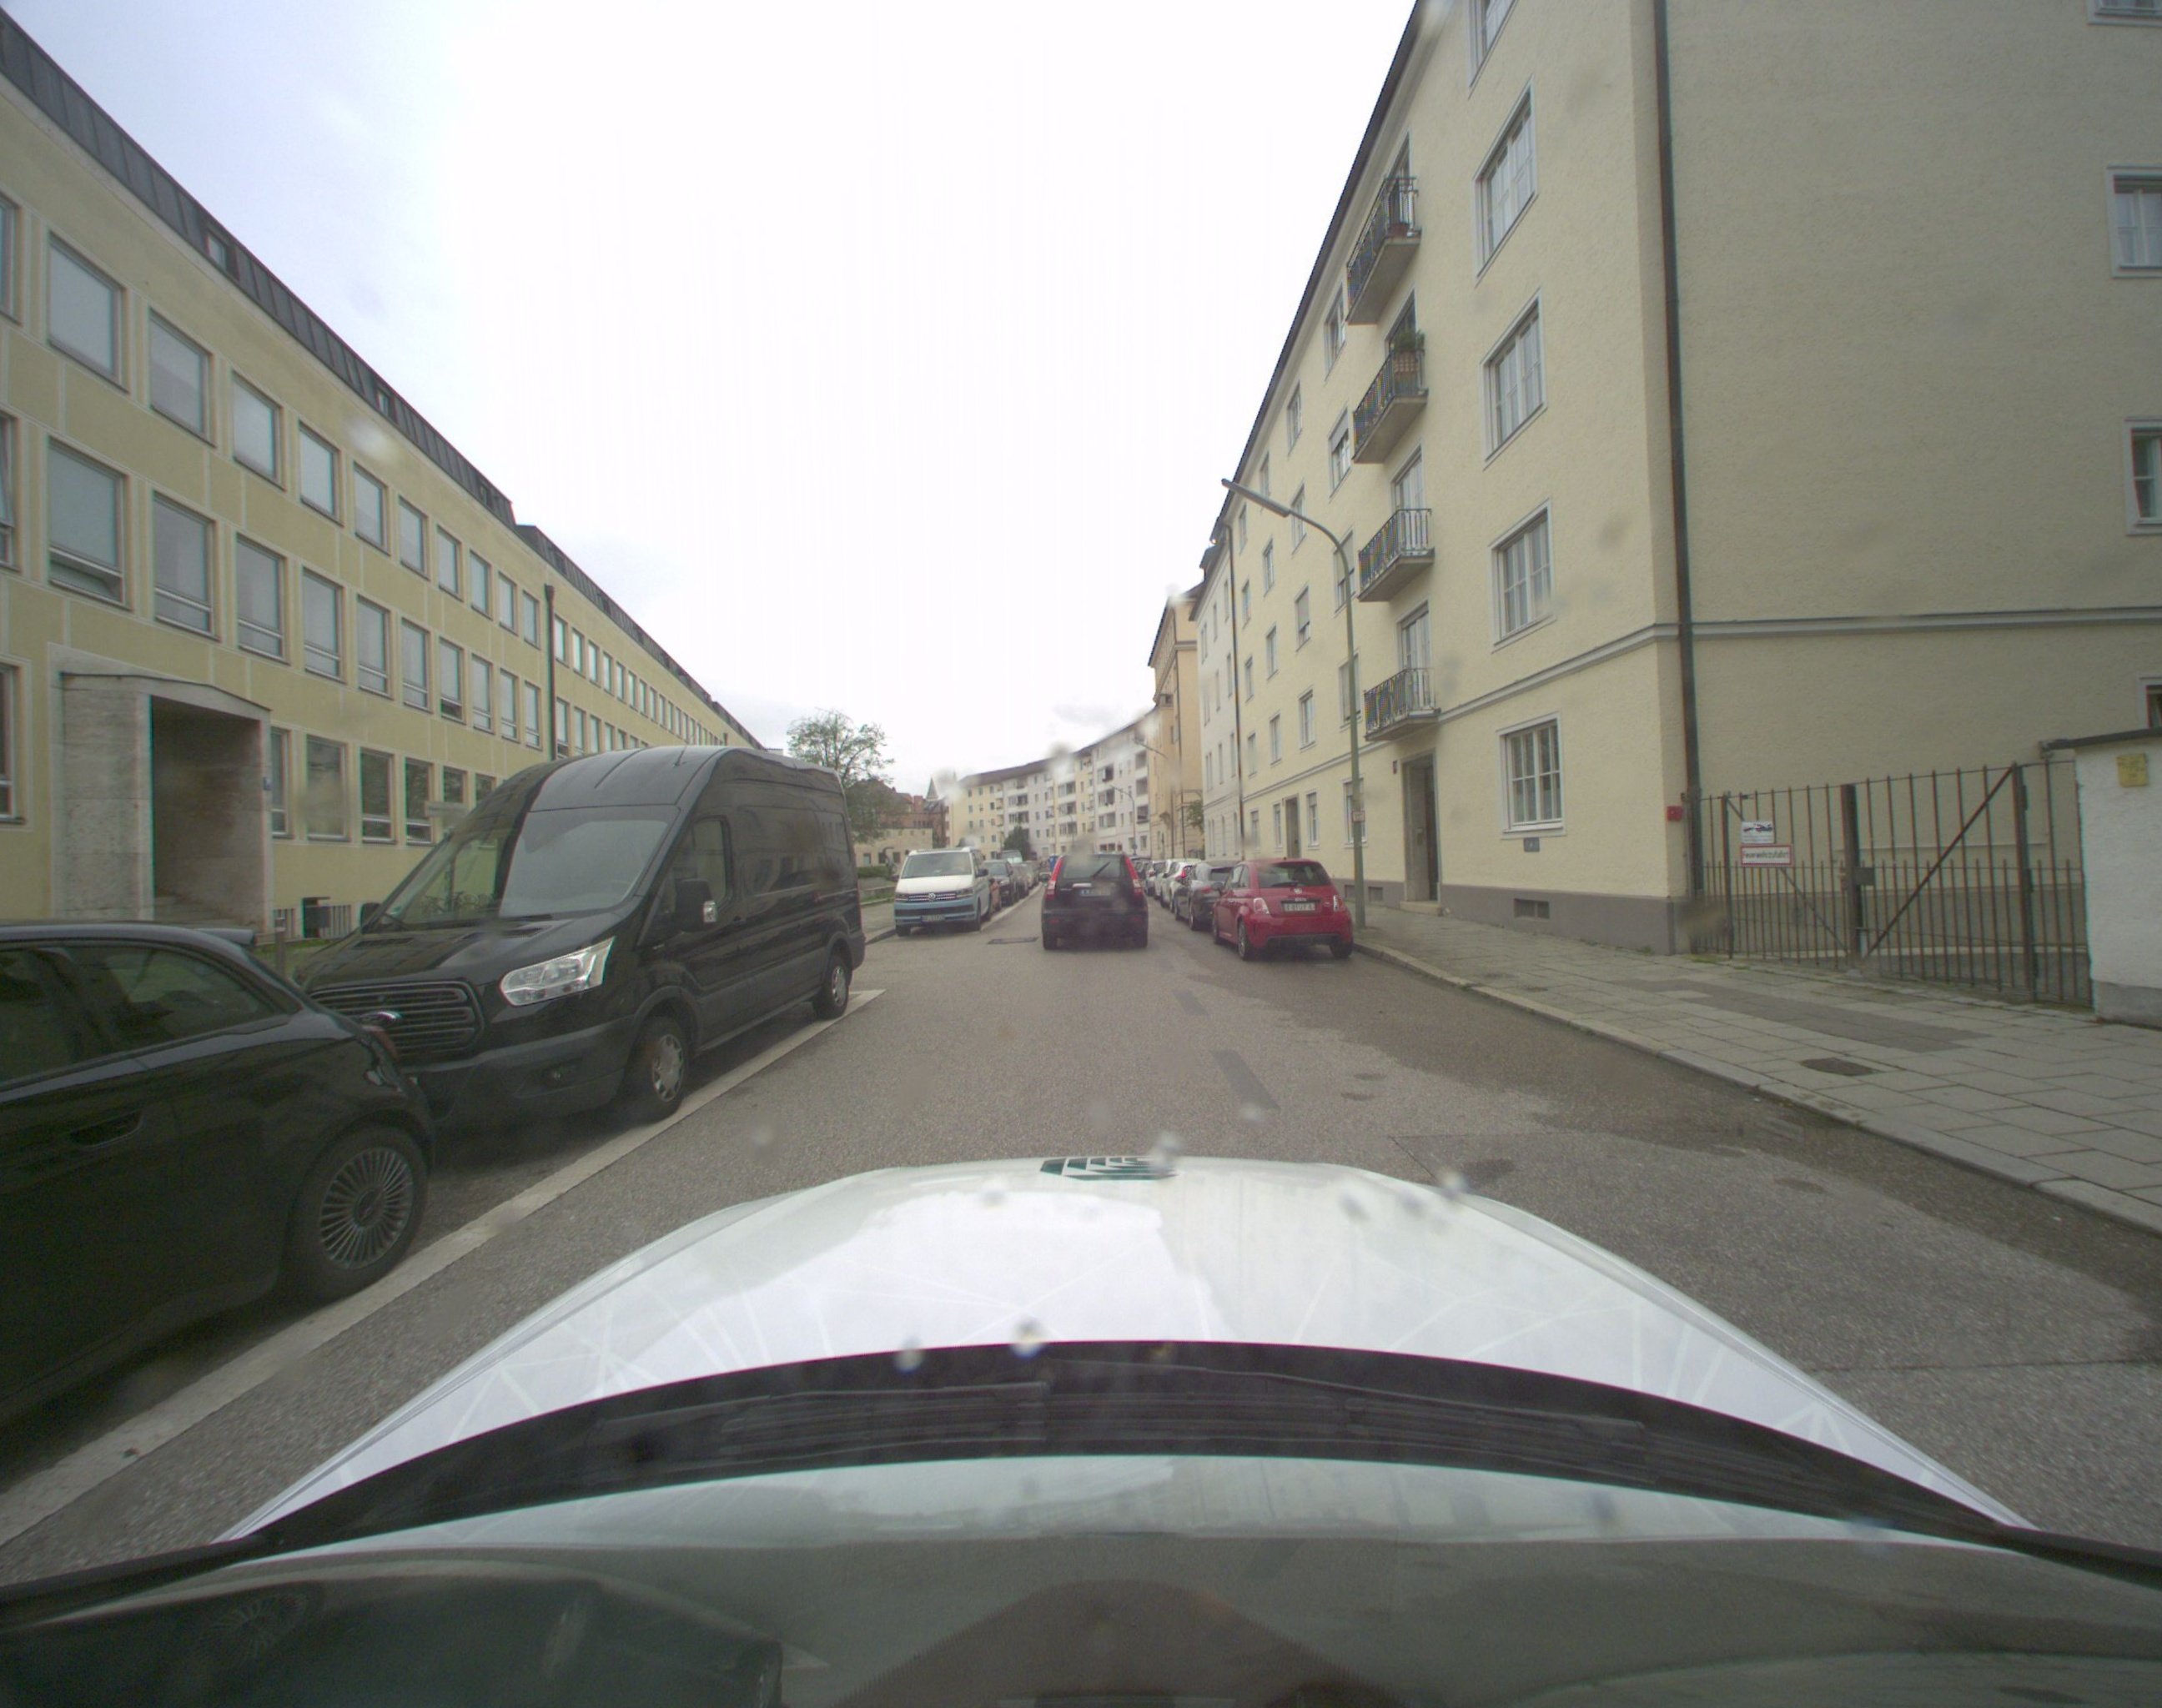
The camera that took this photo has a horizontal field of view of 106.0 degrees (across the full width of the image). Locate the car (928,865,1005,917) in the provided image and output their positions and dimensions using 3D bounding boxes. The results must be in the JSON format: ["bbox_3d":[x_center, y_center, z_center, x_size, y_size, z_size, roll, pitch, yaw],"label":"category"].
[{"bbox_3d":[-3.404,1.056,24.823,1.738,1.387,3.918,-1,0,0],"label":"car"}]

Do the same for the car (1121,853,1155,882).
[{"bbox_3d":[3.401,0.817,49.174,1.717,1.634,4.456,-1,-1,0],"label":"car"}]

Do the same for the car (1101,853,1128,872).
[{"bbox_3d":[3.138,0.789,76.313,1.776,1.807,4.264,0,-1,-8],"label":"car"}]

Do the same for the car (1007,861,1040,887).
[{"bbox_3d":[-3.589,1.256,51.438,1.750,1.453,4.393,-3,0,-2],"label":"car"}]

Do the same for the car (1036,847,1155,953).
[{"bbox_3d":[0.135,0.757,15.064,1.887,1.647,3.986,-1,-1,-3],"label":"car"}]

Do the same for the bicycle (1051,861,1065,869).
[{"bbox_3d":[-3.263,1.612,115.640,1.873,1.091,0.561,-1,-1,-22],"label":"bicycle"}]

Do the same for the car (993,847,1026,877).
[{"bbox_3d":[-6.847,0.740,77.740,2.167,2.641,5.988,-3,0,-14],"label":"car"}]

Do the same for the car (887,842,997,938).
[{"bbox_3d":[-3.263,0.802,20.082,1.923,1.979,5.018,-3,0,-2],"label":"car"}]

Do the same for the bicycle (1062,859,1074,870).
[{"bbox_3d":[-1.734,1.428,107.970,0.970,1.388,2.550,-1,-1,-15],"label":"bicycle"}]

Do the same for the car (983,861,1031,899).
[{"bbox_3d":[-3.183,1.081,35.483,1.675,1.453,3.868,-3,0,-1],"label":"car"}]

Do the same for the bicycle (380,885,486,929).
[{"bbox_3d":[-16.007,1.301,20.157,1.951,1.014,0.577,0,-1,-17],"label":"bicycle"}]

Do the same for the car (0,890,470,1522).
[{"bbox_3d":[-3.516,0.915,1.891,1.698,1.494,3.484,-1,-1,-4],"label":"car"}]

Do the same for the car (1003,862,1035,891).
[{"bbox_3d":[-3.506,1.254,46.570,1.653,1.453,4.069,-3,0,-3],"label":"car"}]

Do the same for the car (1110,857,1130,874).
[{"bbox_3d":[3.388,0.969,71.123,1.702,1.447,3.830,0,-1,1],"label":"car"}]

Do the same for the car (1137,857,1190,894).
[{"bbox_3d":[3.408,0.875,34.168,1.674,1.427,4.164,-1,-1,-1],"label":"car"}]

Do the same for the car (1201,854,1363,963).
[{"bbox_3d":[3.127,0.786,13.423,1.674,1.497,3.822,-1,-1,-1],"label":"car"}]

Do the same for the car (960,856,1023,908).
[{"bbox_3d":[-3.257,0.986,30.412,1.738,1.666,4.447,-5,0,-1],"label":"car"}]

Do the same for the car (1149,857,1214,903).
[{"bbox_3d":[3.492,0.875,28.927,1.674,1.481,4.164,-1,-1,-1],"label":"car"}]

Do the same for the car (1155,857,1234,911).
[{"bbox_3d":[3.285,0.840,24.346,1.674,1.410,4.441,-1,-1,-1],"label":"car"}]

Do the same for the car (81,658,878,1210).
[{"bbox_3d":[-3.727,0.412,6.896,2.288,2.645,5.656,-3,0,2],"label":"car"}]

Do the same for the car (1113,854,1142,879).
[{"bbox_3d":[3.344,0.866,59.086,1.862,1.717,4.865,0,-1,1],"label":"car"}]

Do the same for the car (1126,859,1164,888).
[{"bbox_3d":[3.424,1.036,44.088,1.674,1.427,4.086,-2,-1,0],"label":"car"}]

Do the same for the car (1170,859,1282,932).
[{"bbox_3d":[3.097,0.836,18.261,1.674,1.410,4.420,-1,-1,-1],"label":"car"}]
